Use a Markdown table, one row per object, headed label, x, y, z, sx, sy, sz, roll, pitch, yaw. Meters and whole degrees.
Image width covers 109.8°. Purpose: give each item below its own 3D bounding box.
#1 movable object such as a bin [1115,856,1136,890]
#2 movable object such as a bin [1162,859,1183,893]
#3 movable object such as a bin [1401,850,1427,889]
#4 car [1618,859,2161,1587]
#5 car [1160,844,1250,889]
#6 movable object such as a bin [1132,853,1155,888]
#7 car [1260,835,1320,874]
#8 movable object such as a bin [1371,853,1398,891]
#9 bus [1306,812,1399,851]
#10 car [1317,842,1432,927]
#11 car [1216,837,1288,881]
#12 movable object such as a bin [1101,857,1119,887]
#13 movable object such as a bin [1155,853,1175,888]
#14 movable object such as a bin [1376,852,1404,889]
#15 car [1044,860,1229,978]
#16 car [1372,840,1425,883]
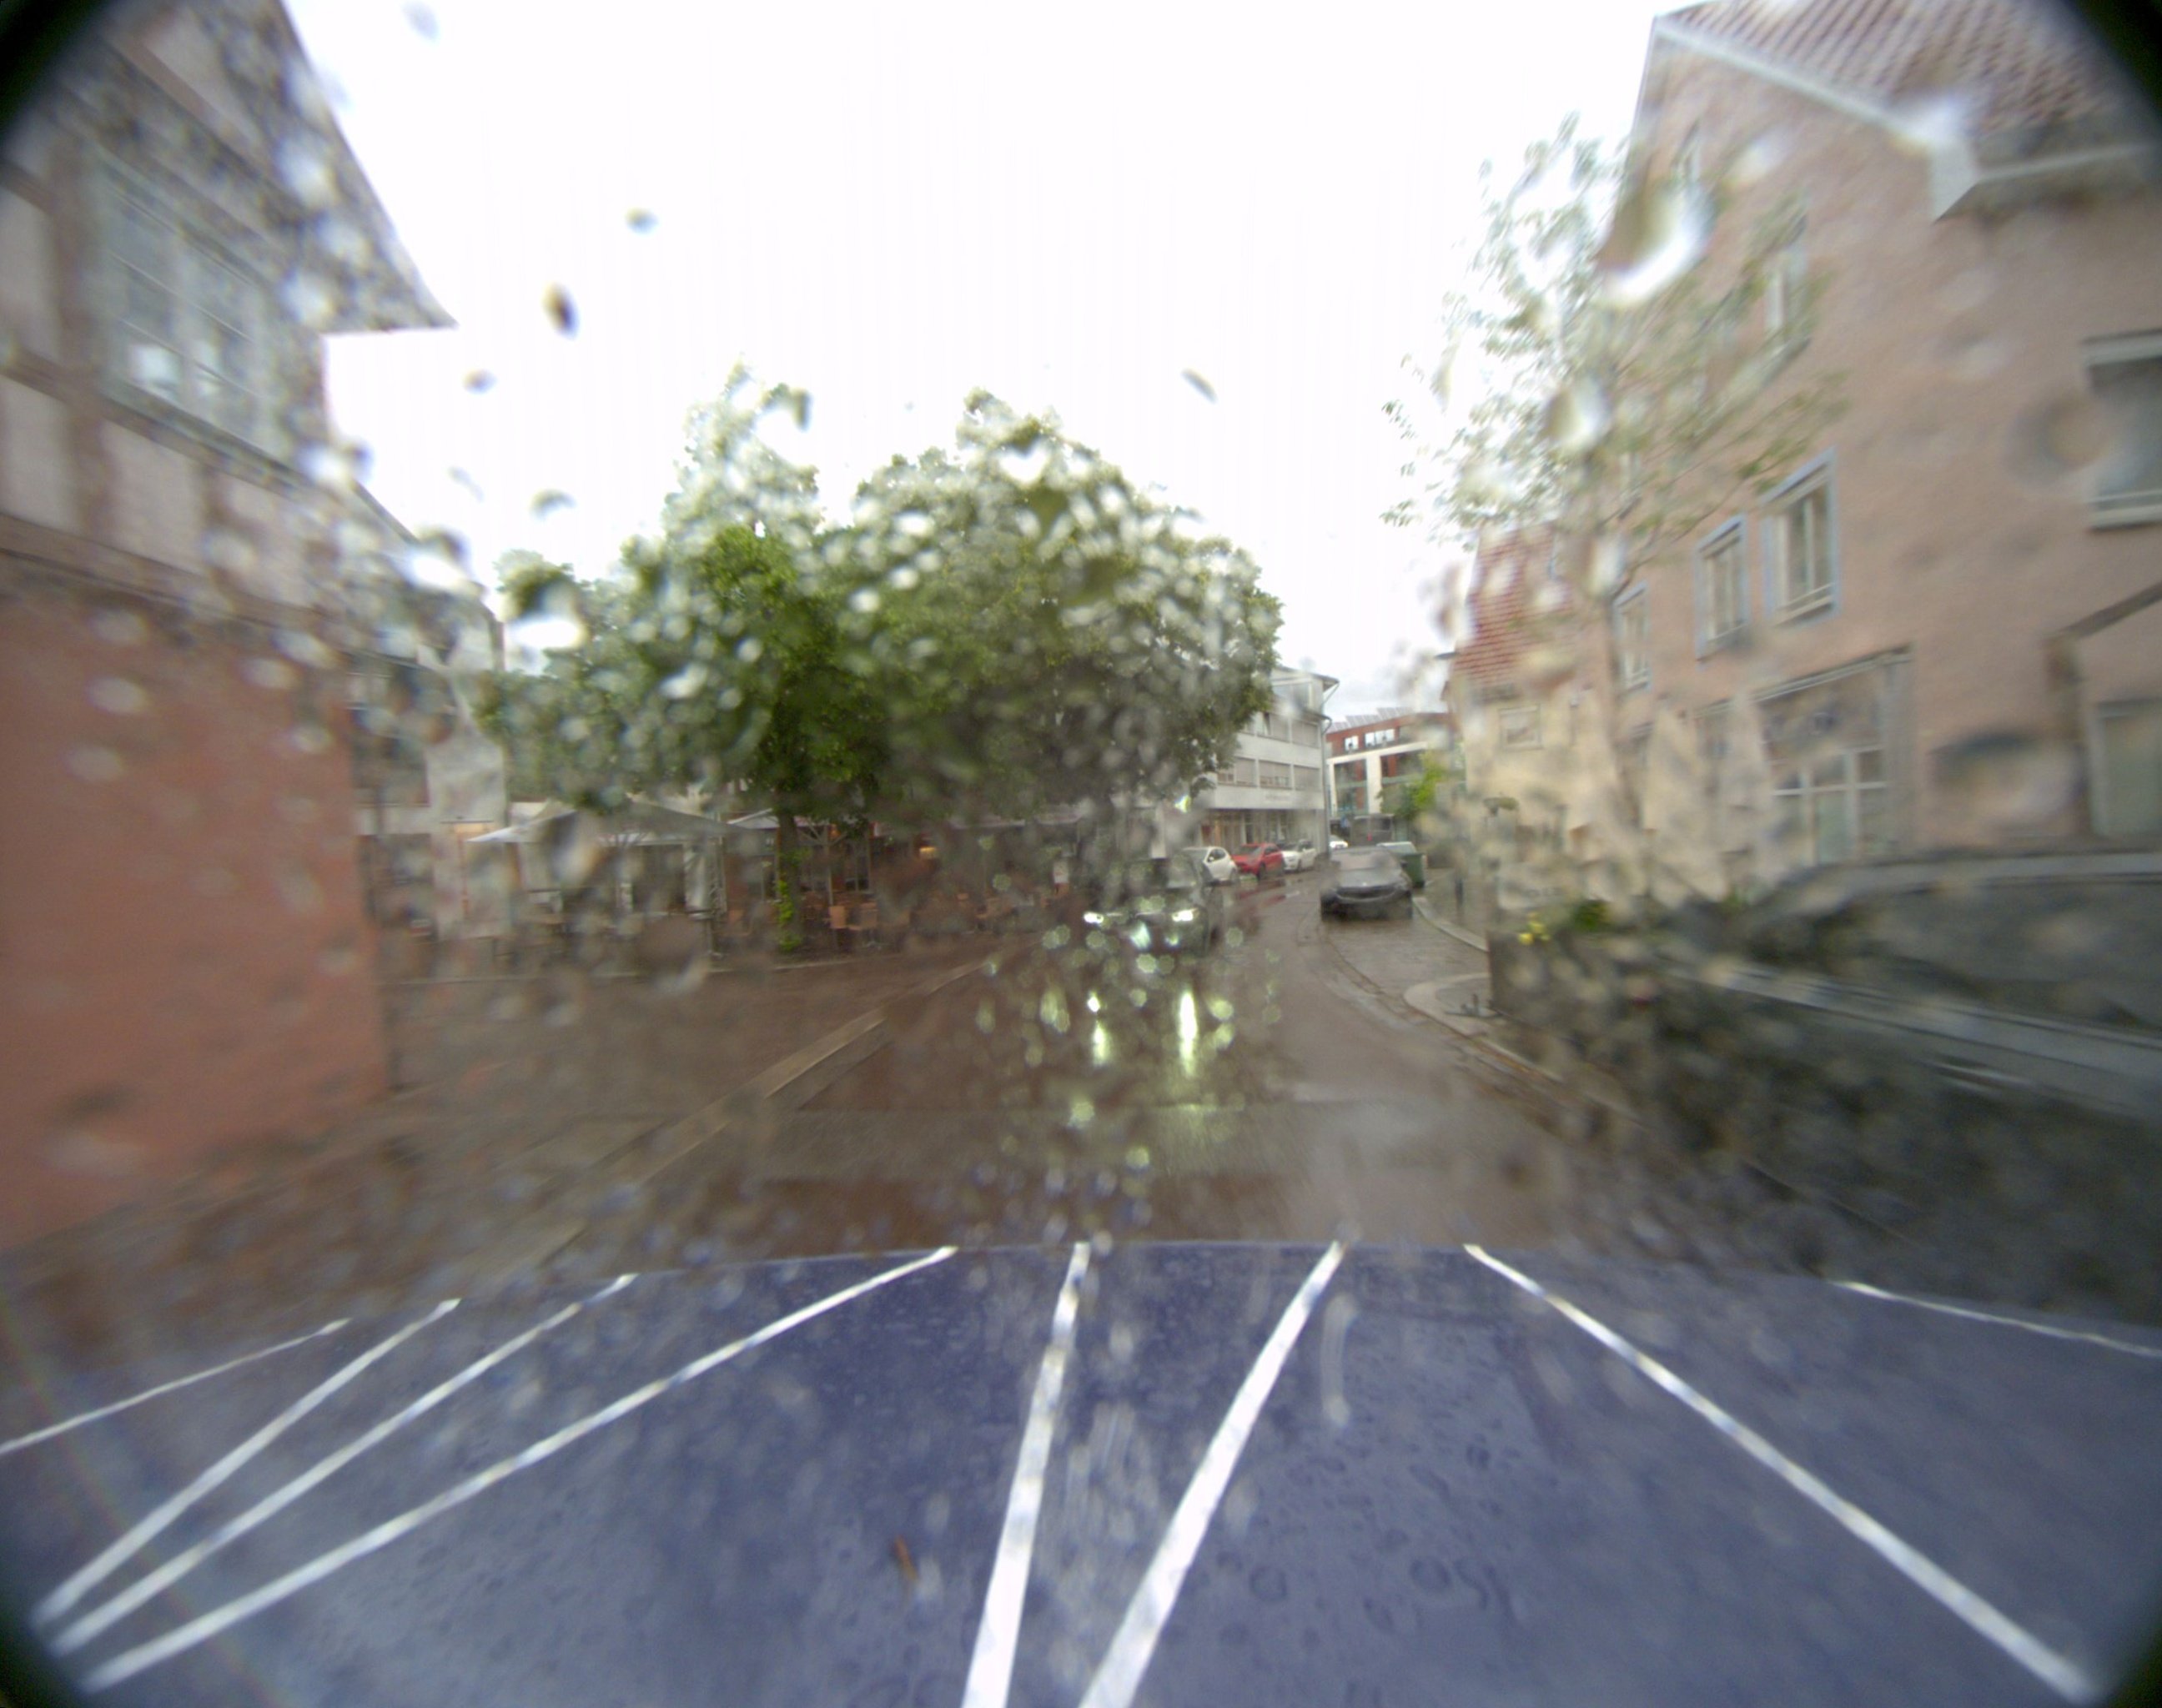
| label | x | y | z | sx | sy | sz | roll | pitch | yaw |
| --- | --- | --- | --- | --- | --- | --- | --- | --- | --- |
| movable object such as a bin | 1.550 | 0.663 | 26.393 | 0.504 | 1.143 | 0.581 | -2 | 2 | 26 |
| movable object such as a bin | 3.131 | 0.755 | 26.099 | 0.534 | 1.143 | 0.501 | -2 | 2 | 26 |
| movable object such as a bin | 9.944 | 0.450 | 22.679 | 0.660 | 1.103 | 0.624 | -2 | 2 | 27 |
| car | 3.253 | 0.839 | 0.820 | 1.806 | 1.425 | 4.624 | -3 | 2 | -4 |
| car | 4.847 | 0.439 | 29.271 | 1.691 | 1.530 | 4.411 | -1 | 1 | 34 |
| movable object such as a bin | 2.159 | 0.560 | 26.182 | 0.545 | 1.143 | 0.586 | -2 | 2 | 26 |
| car | 10.514 | -0.008 | 37.995 | 1.691 | 1.680 | 4.285 | -2 | 2 | 31 |
| movable object such as a bin | 9.191 | 0.550 | 23.007 | 0.660 | 1.103 | 0.624 | -2 | 2 | 27 |
| bus | 24.909 | -2.049 | 70.595 | 2.680 | 3.282 | 10.679 | -3 | 2 | -13 |
| car | 6.284 | 0.572 | 16.544 | 1.996 | 1.446 | 4.378 | -2 | 2 | 19 |
| car | 7.563 | 0.200 | 33.261 | 1.691 | 1.680 | 3.964 | -1 | 2 | 34 |
| movable object such as a bin | 1.034 | 0.630 | 26.829 | 0.430 | 1.041 | 0.501 | -2 | 2 | 26 |
| movable object such as a bin | 2.837 | 0.557 | 25.603 | 0.477 | 1.162 | 0.489 | -2 | 2 | 26 |
| movable object such as a bin | 9.600 | 0.510 | 23.605 | 0.692 | 1.080 | 0.547 | -4 | 1 | 28 |
| car | 1.165 | 0.909 | 12.460 | 1.996 | 1.398 | 4.898 | -3 | 0 | 16 |
| car | 11.947 | 0.259 | 28.507 | 1.691 | 1.415 | 3.822 | -2 | 1 | 24 |
